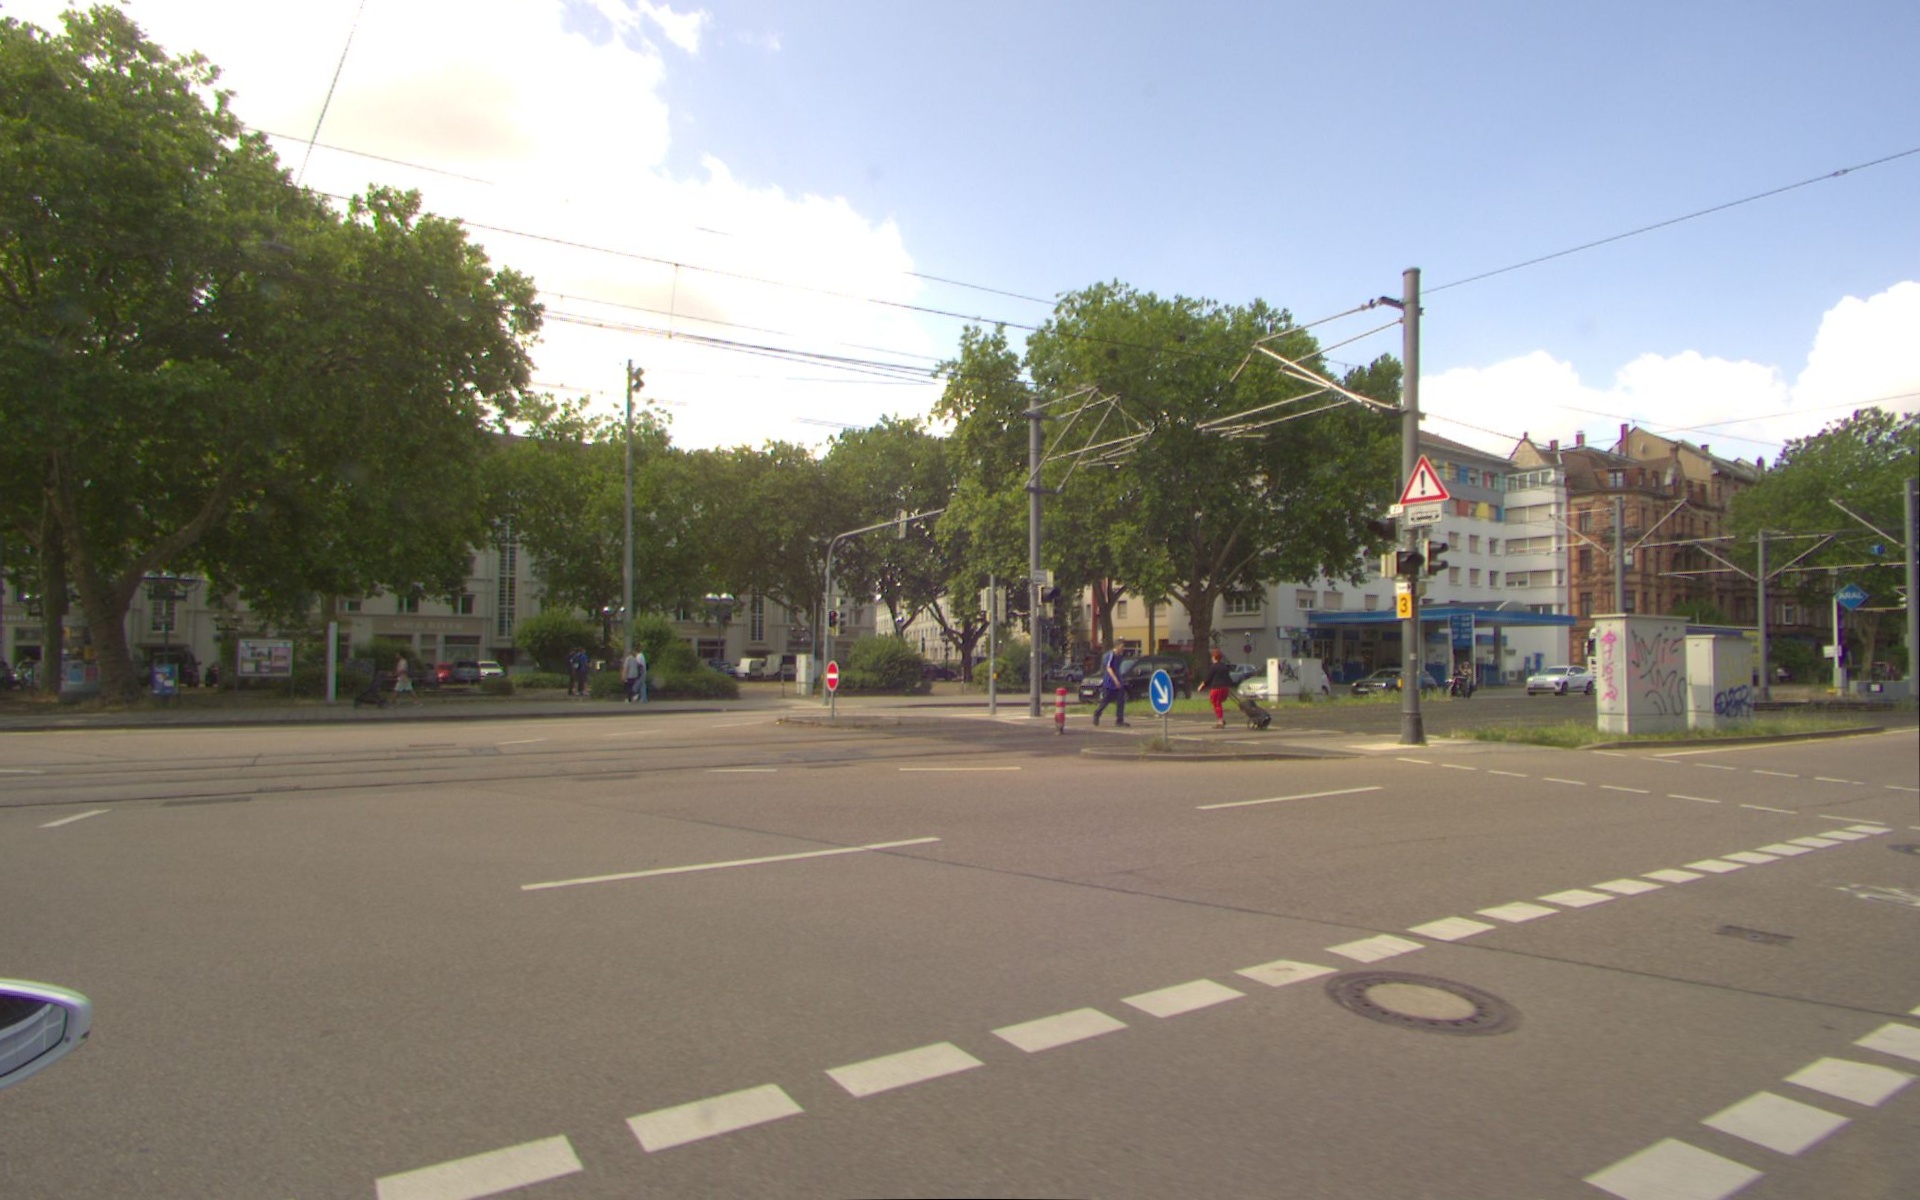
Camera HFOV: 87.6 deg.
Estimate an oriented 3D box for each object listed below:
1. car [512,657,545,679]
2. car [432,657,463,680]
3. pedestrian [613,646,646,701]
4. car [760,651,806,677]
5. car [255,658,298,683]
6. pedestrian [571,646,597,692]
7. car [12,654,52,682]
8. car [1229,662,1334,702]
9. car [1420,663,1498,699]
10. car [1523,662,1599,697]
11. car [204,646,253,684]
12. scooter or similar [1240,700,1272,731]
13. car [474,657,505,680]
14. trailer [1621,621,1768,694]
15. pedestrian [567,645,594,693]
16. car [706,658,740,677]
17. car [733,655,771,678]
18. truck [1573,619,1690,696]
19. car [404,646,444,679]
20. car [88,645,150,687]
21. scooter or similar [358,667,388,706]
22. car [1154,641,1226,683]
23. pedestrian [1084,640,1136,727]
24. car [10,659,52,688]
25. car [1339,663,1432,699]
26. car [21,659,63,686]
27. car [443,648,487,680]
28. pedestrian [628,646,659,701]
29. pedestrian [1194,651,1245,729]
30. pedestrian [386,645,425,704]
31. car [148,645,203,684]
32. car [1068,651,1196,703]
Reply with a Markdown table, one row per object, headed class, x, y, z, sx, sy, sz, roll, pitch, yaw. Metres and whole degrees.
| class | x | y | z | sx | sy | sz | roll | pitch | yaw |
| --- | --- | --- | --- | --- | --- | --- | --- | --- | --- |
| car | -33.177 | 5.224 | 76.938 | 1.720 | 1.657 | 3.980 | 2 | -4 | -31 |
| car | -37.861 | 5.042 | 73.977 | 1.720 | 1.657 | 3.980 | 2 | -4 | -31 |
| pedestrian | -10.669 | 2.361 | 32.303 | 0.683 | 1.744 | 0.716 | -1 | -3 | 33 |
| car | -13.699 | 4.966 | 77.414 | 2.075 | 1.929 | 4.469 | 2 | -4 | -31 |
| car | -40.528 | 4.169 | 59.432 | 1.974 | 1.439 | 3.978 | 2 | -4 | -33 |
| pedestrian | -14.714 | 2.680 | 39.216 | 0.597 | 1.772 | 0.695 | -1 | -3 | 33 |
| car | -57.042 | 4.178 | 61.614 | 1.453 | 1.686 | 3.045 | 3 | -4 | -37 |
| car | 12.796 | 3.244 | 39.803 | 4.271 | 1.483 | 1.724 | 3 | -3 | -33 |
| car | 23.572 | 3.799 | 47.250 | 3.704 | 1.582 | 1.676 | 3 | -3 | -33 |
| car | 31.786 | 4.179 | 52.966 | 4.080 | 1.726 | 1.844 | 3 | -3 | -33 |
| car | -42.091 | 3.730 | 57.716 | 1.974 | 2.101 | 3.978 | 2 | -4 | -33 |
| scooter or similar | 5.849 | 2.275 | 19.763 | 0.516 | 0.542 | 0.308 | 0 | -2 | 45 |
| car | -35.476 | 5.134 | 75.481 | 1.720 | 1.657 | 3.980 | 2 | -4 | -31 |
| trailer | 44.925 | 3.538 | 61.078 | 11.488 | 4.127 | 2.904 | 2 | -3 | -31 |
| pedestrian | -14.256 | 2.581 | 37.591 | 0.597 | 1.772 | 0.695 | -1 | -3 | 33 |
| car | -20.328 | 5.775 | 85.869 | 1.720 | 1.657 | 3.980 | 2 | -4 | -31 |
| car | -18.143 | 5.789 | 87.284 | 1.973 | 1.988 | 3.980 | 2 | -4 | -31 |
| truck | 38.350 | 3.297 | 57.160 | 6.498 | 4.200 | 2.904 | 2 | -3 | -30 |
| car | -34.287 | 4.014 | 63.996 | 1.973 | 2.038 | 3.979 | 2 | -4 | -32 |
| car | -45.911 | 3.595 | 54.772 | 1.974 | 2.209 | 4.234 | 2 | -4 | -33 |
| scooter or similar | -16.593 | 2.435 | 28.299 | 0.699 | 1.069 | 0.488 | 2 | -3 | -32 |
| car | 13.995 | 3.785 | 60.953 | 3.947 | 2.450 | 2.101 | 2 | -4 | -33 |
| pedestrian | 3.102 | 1.710 | 20.738 | 0.734 | 1.752 | 0.768 | 2 | -3 | -34 |
| car | -46.510 | 3.656 | 50.167 | 1.455 | 1.406 | 3.041 | 3 | -5 | -42 |
| car | 18.598 | 3.489 | 43.710 | 3.920 | 1.464 | 1.844 | 2 | -3 | -33 |
| car | -48.755 | 3.844 | 53.225 | 1.454 | 1.406 | 3.210 | 3 | -4 | -40 |
| car | -32.339 | 4.176 | 65.344 | 1.975 | 2.038 | 3.975 | 2 | -4 | -35 |
| pedestrian | -10.469 | 2.416 | 33.076 | 0.683 | 1.786 | 0.667 | -1 | -3 | 33 |
| pedestrian | 5.226 | 1.801 | 20.191 | 0.768 | 1.510 | 0.652 | -1 | -3 | 44 |
| pedestrian | -15.901 | 2.126 | 28.733 | 0.910 | 1.666 | 0.567 | 2 | -3 | -32 |
| car | -44.316 | 3.664 | 56.651 | 1.974 | 2.101 | 3.978 | 2 | -4 | -33 |
| car | 6.117 | 2.697 | 35.440 | 4.360 | 1.748 | 1.844 | 3 | -3 | -33 |
